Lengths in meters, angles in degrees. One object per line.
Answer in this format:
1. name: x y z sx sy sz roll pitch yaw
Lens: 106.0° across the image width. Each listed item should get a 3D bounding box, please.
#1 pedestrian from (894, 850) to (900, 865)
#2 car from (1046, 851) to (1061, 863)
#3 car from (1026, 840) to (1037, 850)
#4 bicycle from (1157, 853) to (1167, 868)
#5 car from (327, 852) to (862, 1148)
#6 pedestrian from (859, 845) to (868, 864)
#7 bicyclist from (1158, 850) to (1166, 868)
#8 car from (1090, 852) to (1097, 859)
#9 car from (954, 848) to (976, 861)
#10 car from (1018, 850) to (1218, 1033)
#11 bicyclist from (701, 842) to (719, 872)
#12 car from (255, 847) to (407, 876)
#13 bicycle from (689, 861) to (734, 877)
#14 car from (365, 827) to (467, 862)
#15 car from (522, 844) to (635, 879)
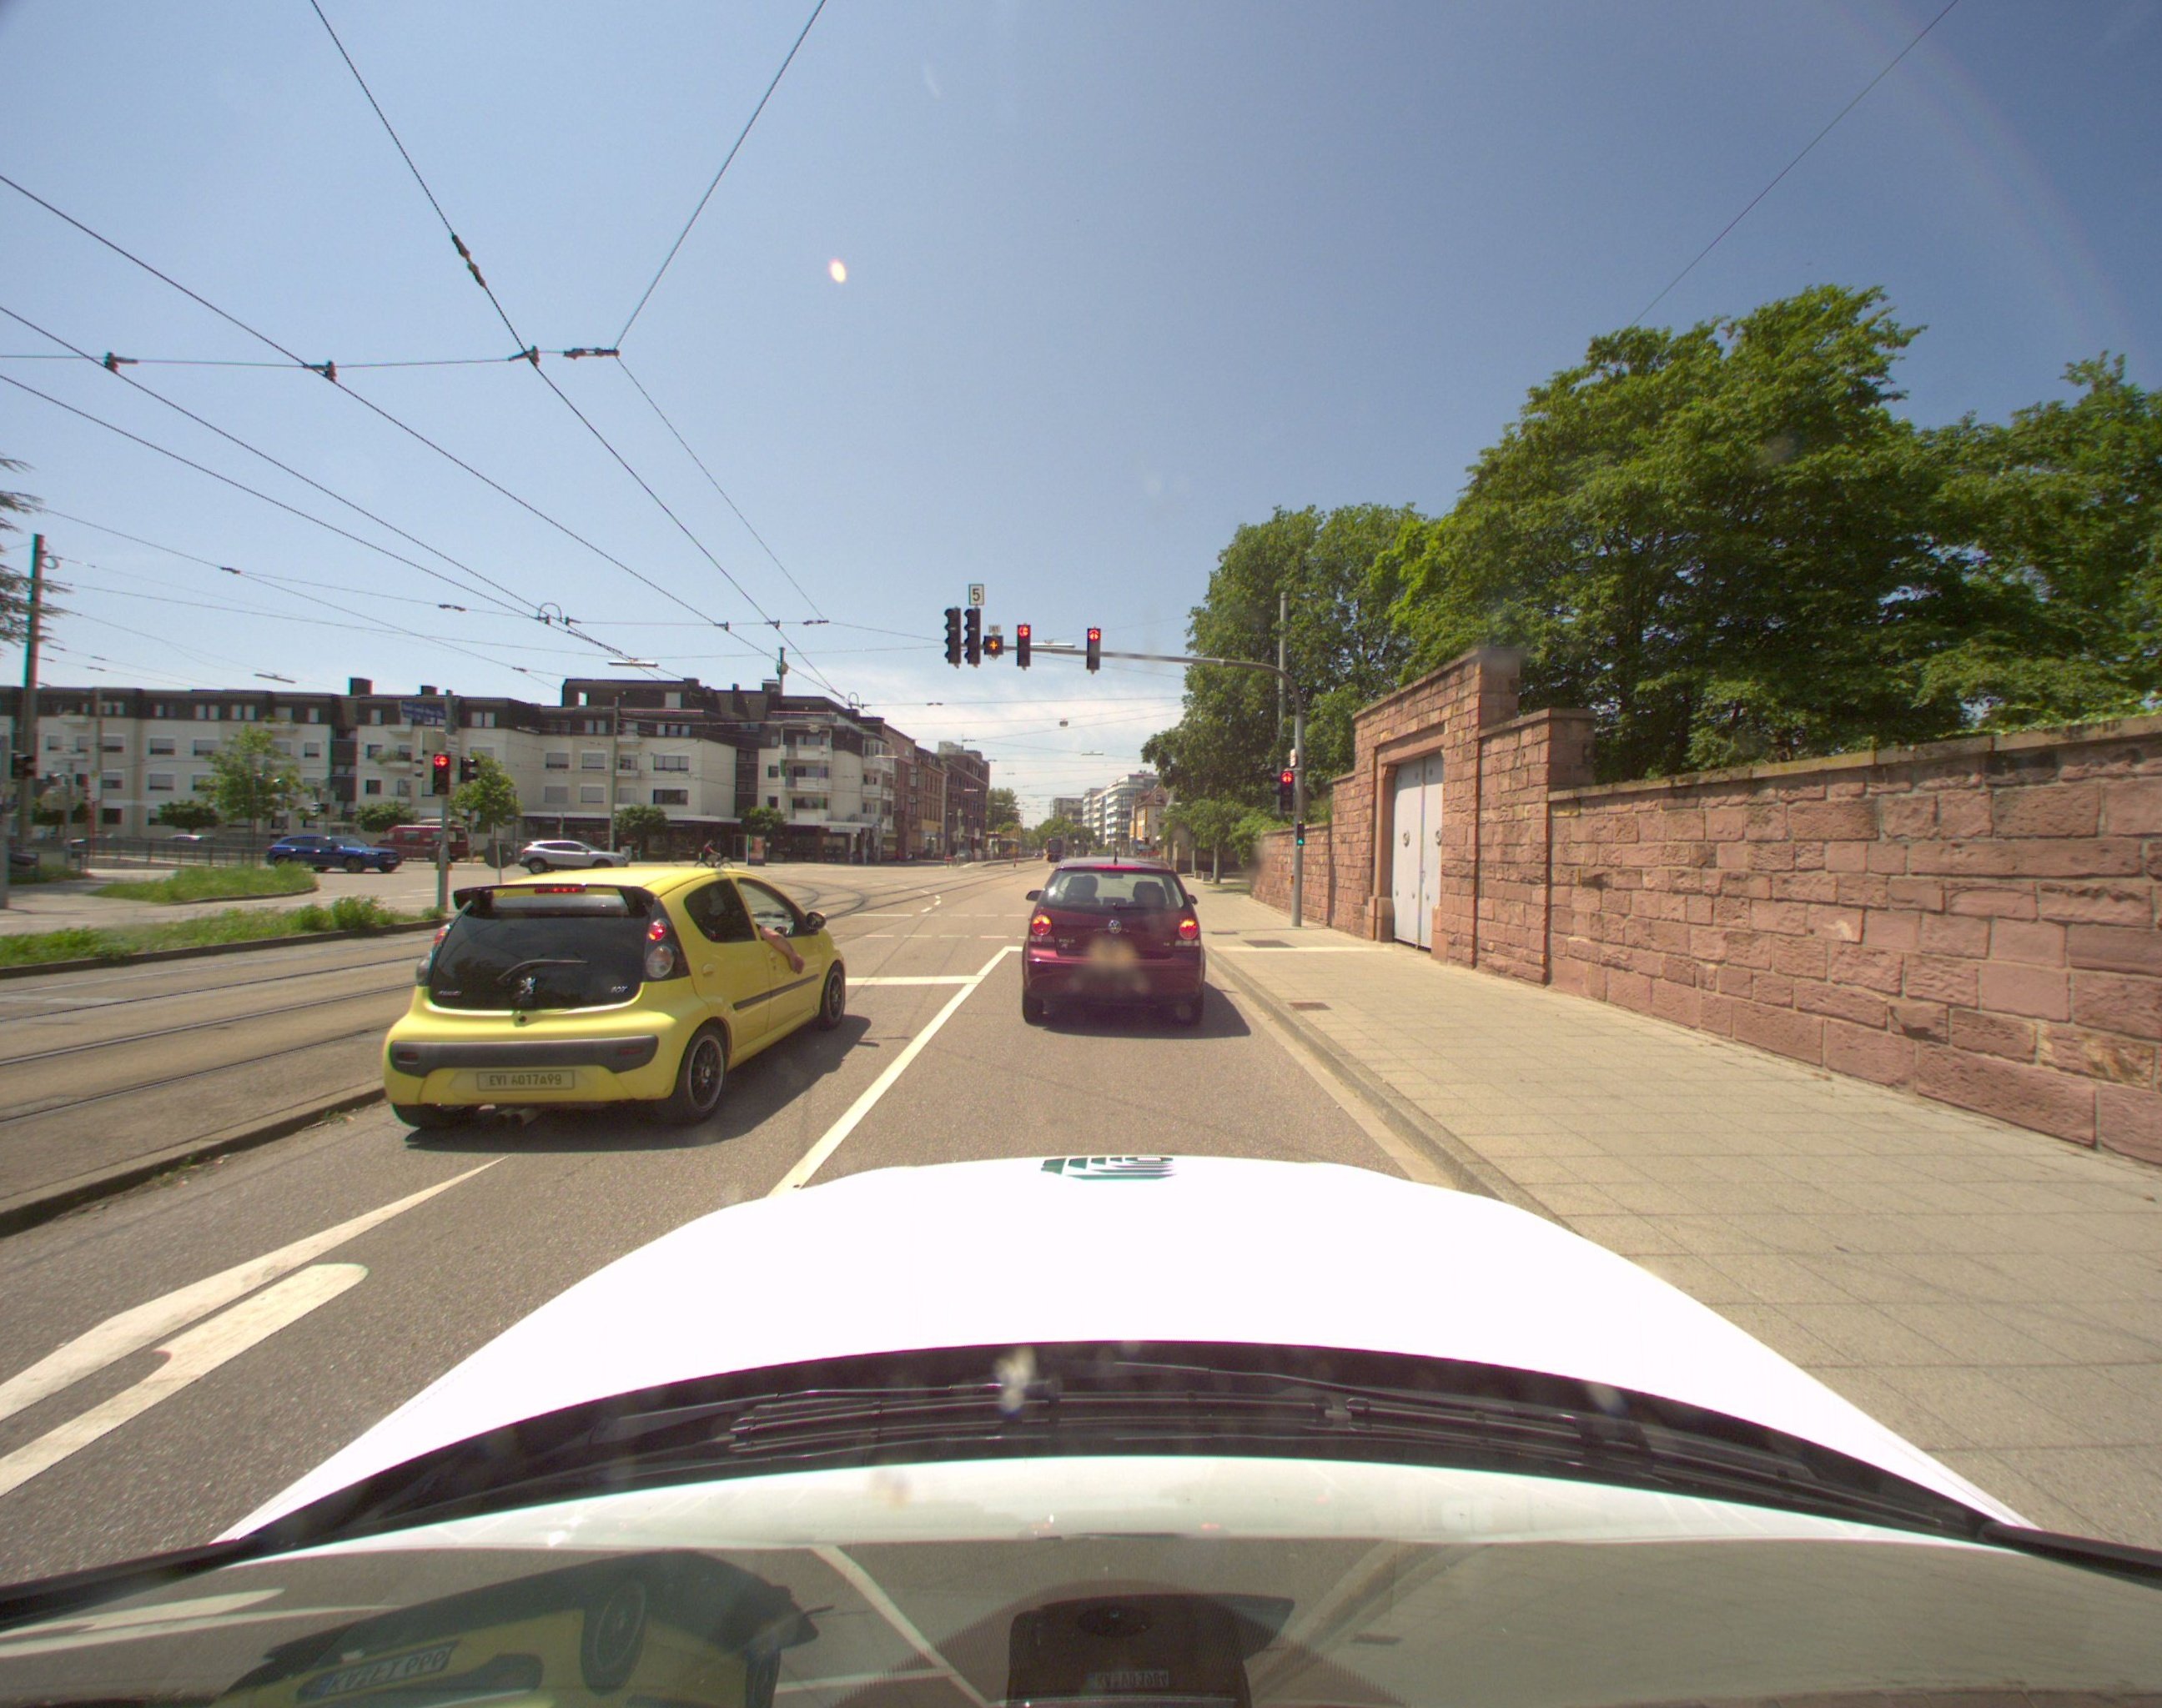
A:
1. pedestrian: -18.130 0.342 80.421 0.482 1.541 0.538 0 -1 -2
2. car: -3.900 0.489 117.603 1.931 1.641 4.001 0 -1 1
3. car: -9.422 -1.693 155.233 1.728 2.013 4.002 1 0 2
4. bicycle: 8.436 0.654 85.050 0.831 1.525 4.001 0 -1 2
5. car: -2.899 0.731 5.754 1.717 1.445 3.293 -1 1 1
6. pedestrian: -19.724 0.051 73.924 0.614 1.754 0.499 1 -1 -43
7. bicyclist: 8.354 0.497 83.924 0.719 1.818 0.889 0 -1 1
8. car: 2.641 0.268 172.808 1.567 1.415 3.721 -1 0 1
9. car: -13.307 0.096 93.706 1.682 1.462 4.003 1 0 3
10. car: 0.334 0.711 8.685 1.604 1.463 4.086 1 0 1
11. bicyclist: -18.451 0.155 40.501 0.752 1.501 0.479 0 -1 -20
12. car: -33.032 0.328 35.961 4.757 1.237 1.938 0 -1 -2
13. bicycle: -18.372 0.729 40.527 1.987 0.783 0.463 0 -1 -20
14. car: -45.383 -0.624 55.671 5.048 2.341 2.244 0 -1 0
15. car: -23.584 0.333 38.405 4.149 1.584 1.928 0 -1 -18
